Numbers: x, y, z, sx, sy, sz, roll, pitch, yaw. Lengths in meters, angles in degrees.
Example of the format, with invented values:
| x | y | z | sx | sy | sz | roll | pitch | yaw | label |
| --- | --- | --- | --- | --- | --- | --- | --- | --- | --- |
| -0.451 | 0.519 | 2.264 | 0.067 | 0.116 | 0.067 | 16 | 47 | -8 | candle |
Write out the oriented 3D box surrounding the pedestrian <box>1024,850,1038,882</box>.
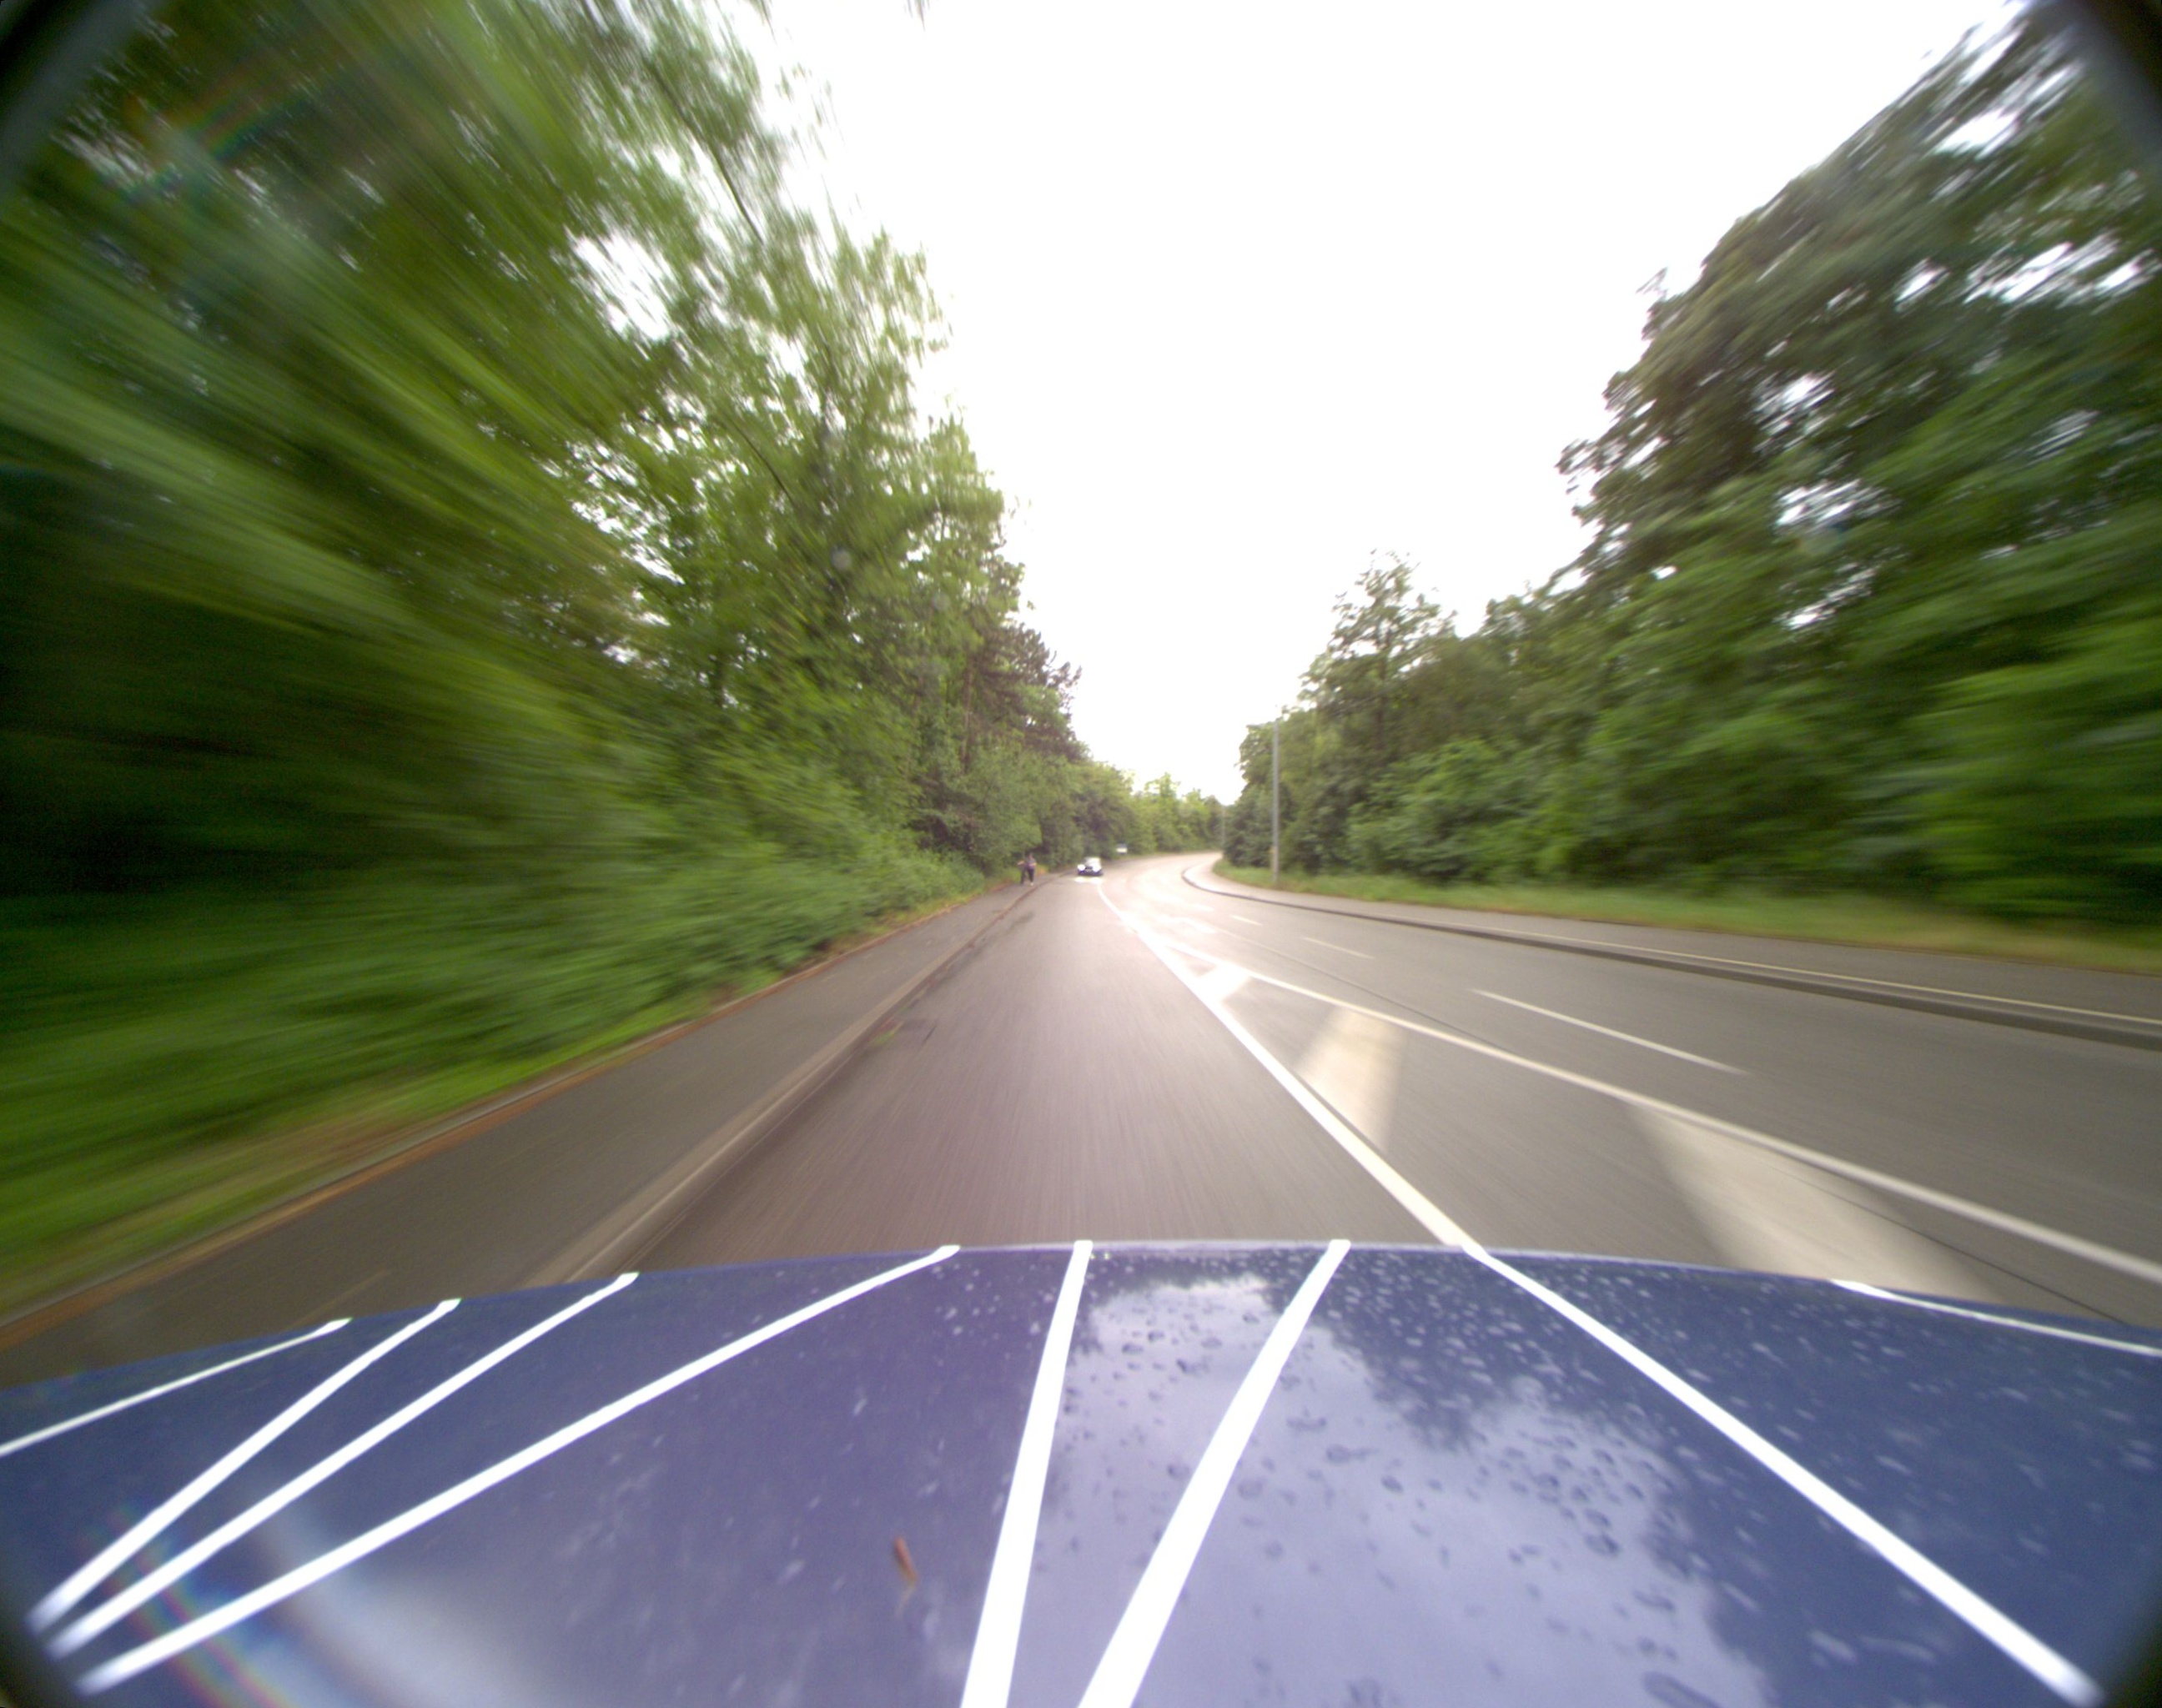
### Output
| x | y | z | sx | sy | sz | roll | pitch | yaw | label |
| --- | --- | --- | --- | --- | --- | --- | --- | --- | --- |
| -2.529 | 0.596 | 38.312 | 0.565 | 1.568 | 0.769 | 3 | 4 | 3 | pedestrian |

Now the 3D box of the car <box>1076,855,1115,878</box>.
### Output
| x | y | z | sx | sy | sz | roll | pitch | yaw | label |
| --- | --- | --- | --- | --- | --- | --- | --- | --- | --- |
| 1.182 | 0.947 | 59.582 | 1.828 | 1.512 | 4.005 | 7 | 3 | 18 | car |

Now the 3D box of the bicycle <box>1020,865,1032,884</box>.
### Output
| x | y | z | sx | sy | sz | roll | pitch | yaw | label |
| --- | --- | --- | --- | --- | --- | --- | --- | --- | --- |
| -2.786 | 1.010 | 38.543 | 0.356 | 0.844 | 1.742 | 5 | 2 | 3 | bicycle |
